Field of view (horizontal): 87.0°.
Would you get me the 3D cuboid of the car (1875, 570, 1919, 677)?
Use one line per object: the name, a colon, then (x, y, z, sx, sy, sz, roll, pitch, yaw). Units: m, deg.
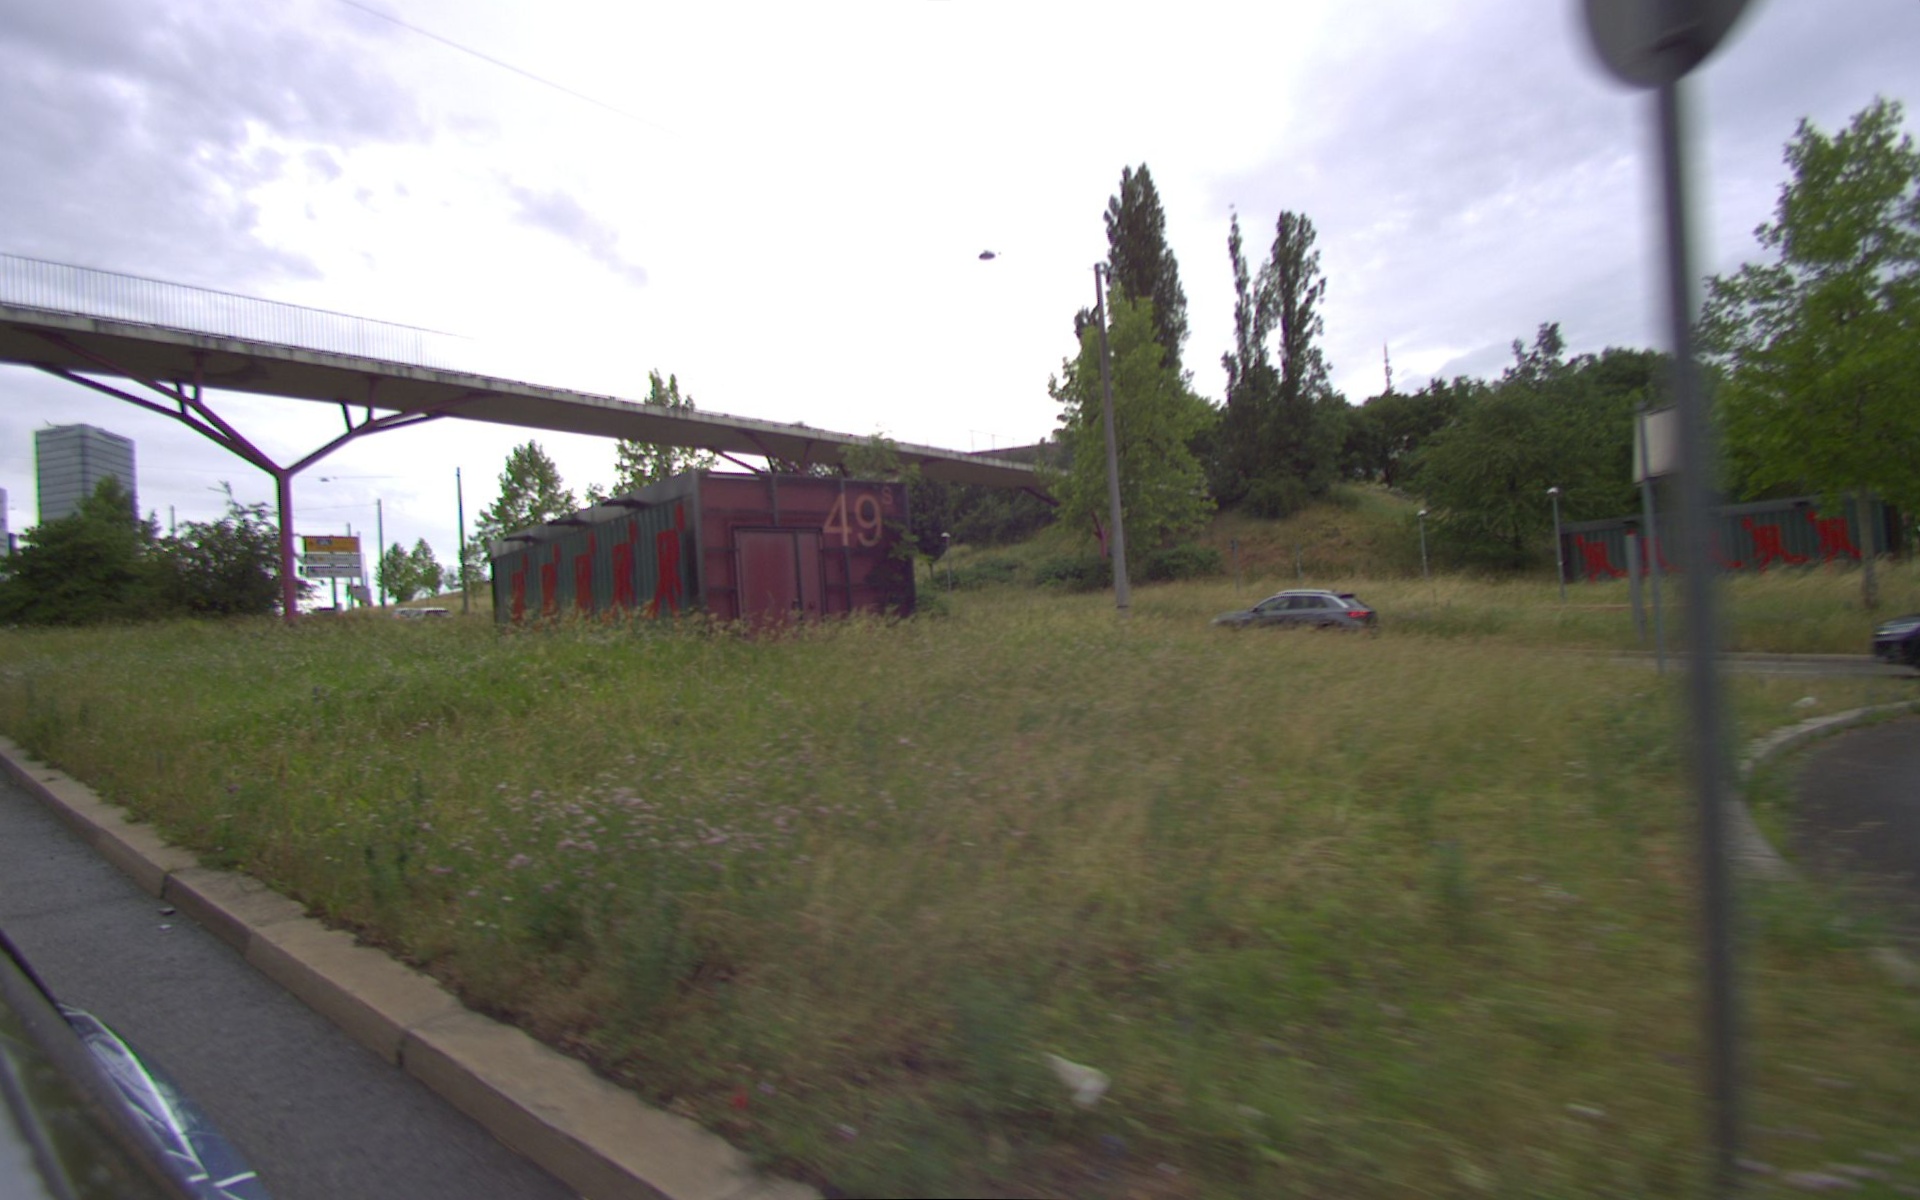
car: (15.806, 0.272, 14.102, 4.433, 1.539, 1.639, -2, 0, 41)

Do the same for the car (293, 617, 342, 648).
car: (-46.277, 2.309, 72.846, 4.001, 2.028, 1.972, -1, 2, 44)

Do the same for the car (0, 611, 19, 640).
car: (-61.393, 1.623, 64.211, 1.967, 1.785, 4.009, -1, 0, -36)

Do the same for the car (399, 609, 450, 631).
car: (-28.762, 1.054, 54.337, 3.082, 0.951, 1.254, 2, 4, 38)

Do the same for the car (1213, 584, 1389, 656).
car: (8.458, 0.508, 25.210, 3.786, 1.585, 1.641, -2, 2, 38)

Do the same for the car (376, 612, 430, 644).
car: (-38.228, 1.906, 69.426, 4.001, 2.028, 1.972, -1, 2, 44)
